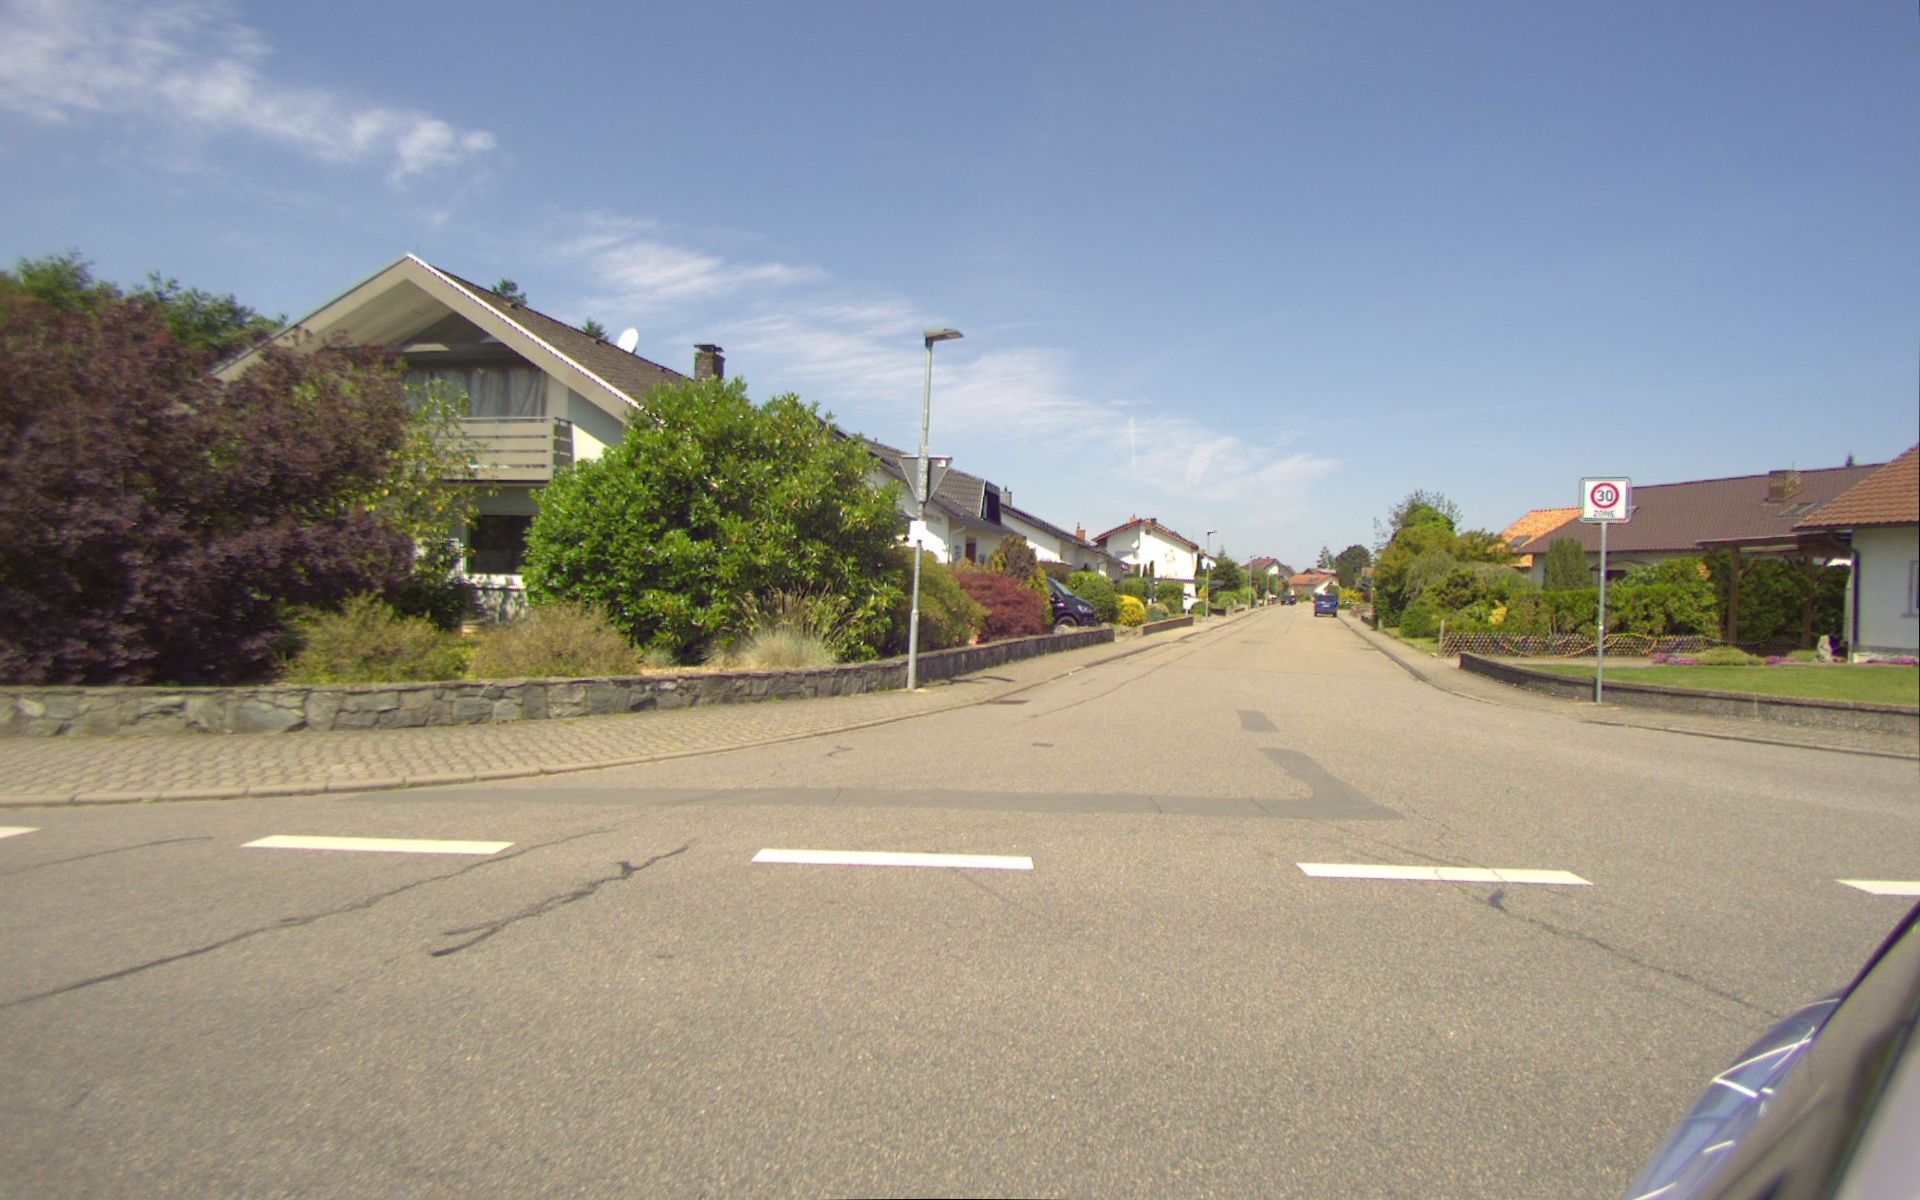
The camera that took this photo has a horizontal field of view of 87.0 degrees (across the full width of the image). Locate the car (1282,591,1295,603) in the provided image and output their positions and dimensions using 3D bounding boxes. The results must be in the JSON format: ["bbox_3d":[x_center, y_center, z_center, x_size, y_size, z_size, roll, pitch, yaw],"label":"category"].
[{"bbox_3d":[54.590,-0.519,168.162,1.849,1.950,3.981,1,1,15],"label":"car"}]

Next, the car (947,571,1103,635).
[{"bbox_3d":[2.165,0.064,33.328,4.892,1.939,1.921,1,1,13],"label":"car"}]

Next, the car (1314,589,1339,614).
[{"bbox_3d":[28.510,0.091,78.702,1.806,1.905,3.973,1,1,21],"label":"car"}]
